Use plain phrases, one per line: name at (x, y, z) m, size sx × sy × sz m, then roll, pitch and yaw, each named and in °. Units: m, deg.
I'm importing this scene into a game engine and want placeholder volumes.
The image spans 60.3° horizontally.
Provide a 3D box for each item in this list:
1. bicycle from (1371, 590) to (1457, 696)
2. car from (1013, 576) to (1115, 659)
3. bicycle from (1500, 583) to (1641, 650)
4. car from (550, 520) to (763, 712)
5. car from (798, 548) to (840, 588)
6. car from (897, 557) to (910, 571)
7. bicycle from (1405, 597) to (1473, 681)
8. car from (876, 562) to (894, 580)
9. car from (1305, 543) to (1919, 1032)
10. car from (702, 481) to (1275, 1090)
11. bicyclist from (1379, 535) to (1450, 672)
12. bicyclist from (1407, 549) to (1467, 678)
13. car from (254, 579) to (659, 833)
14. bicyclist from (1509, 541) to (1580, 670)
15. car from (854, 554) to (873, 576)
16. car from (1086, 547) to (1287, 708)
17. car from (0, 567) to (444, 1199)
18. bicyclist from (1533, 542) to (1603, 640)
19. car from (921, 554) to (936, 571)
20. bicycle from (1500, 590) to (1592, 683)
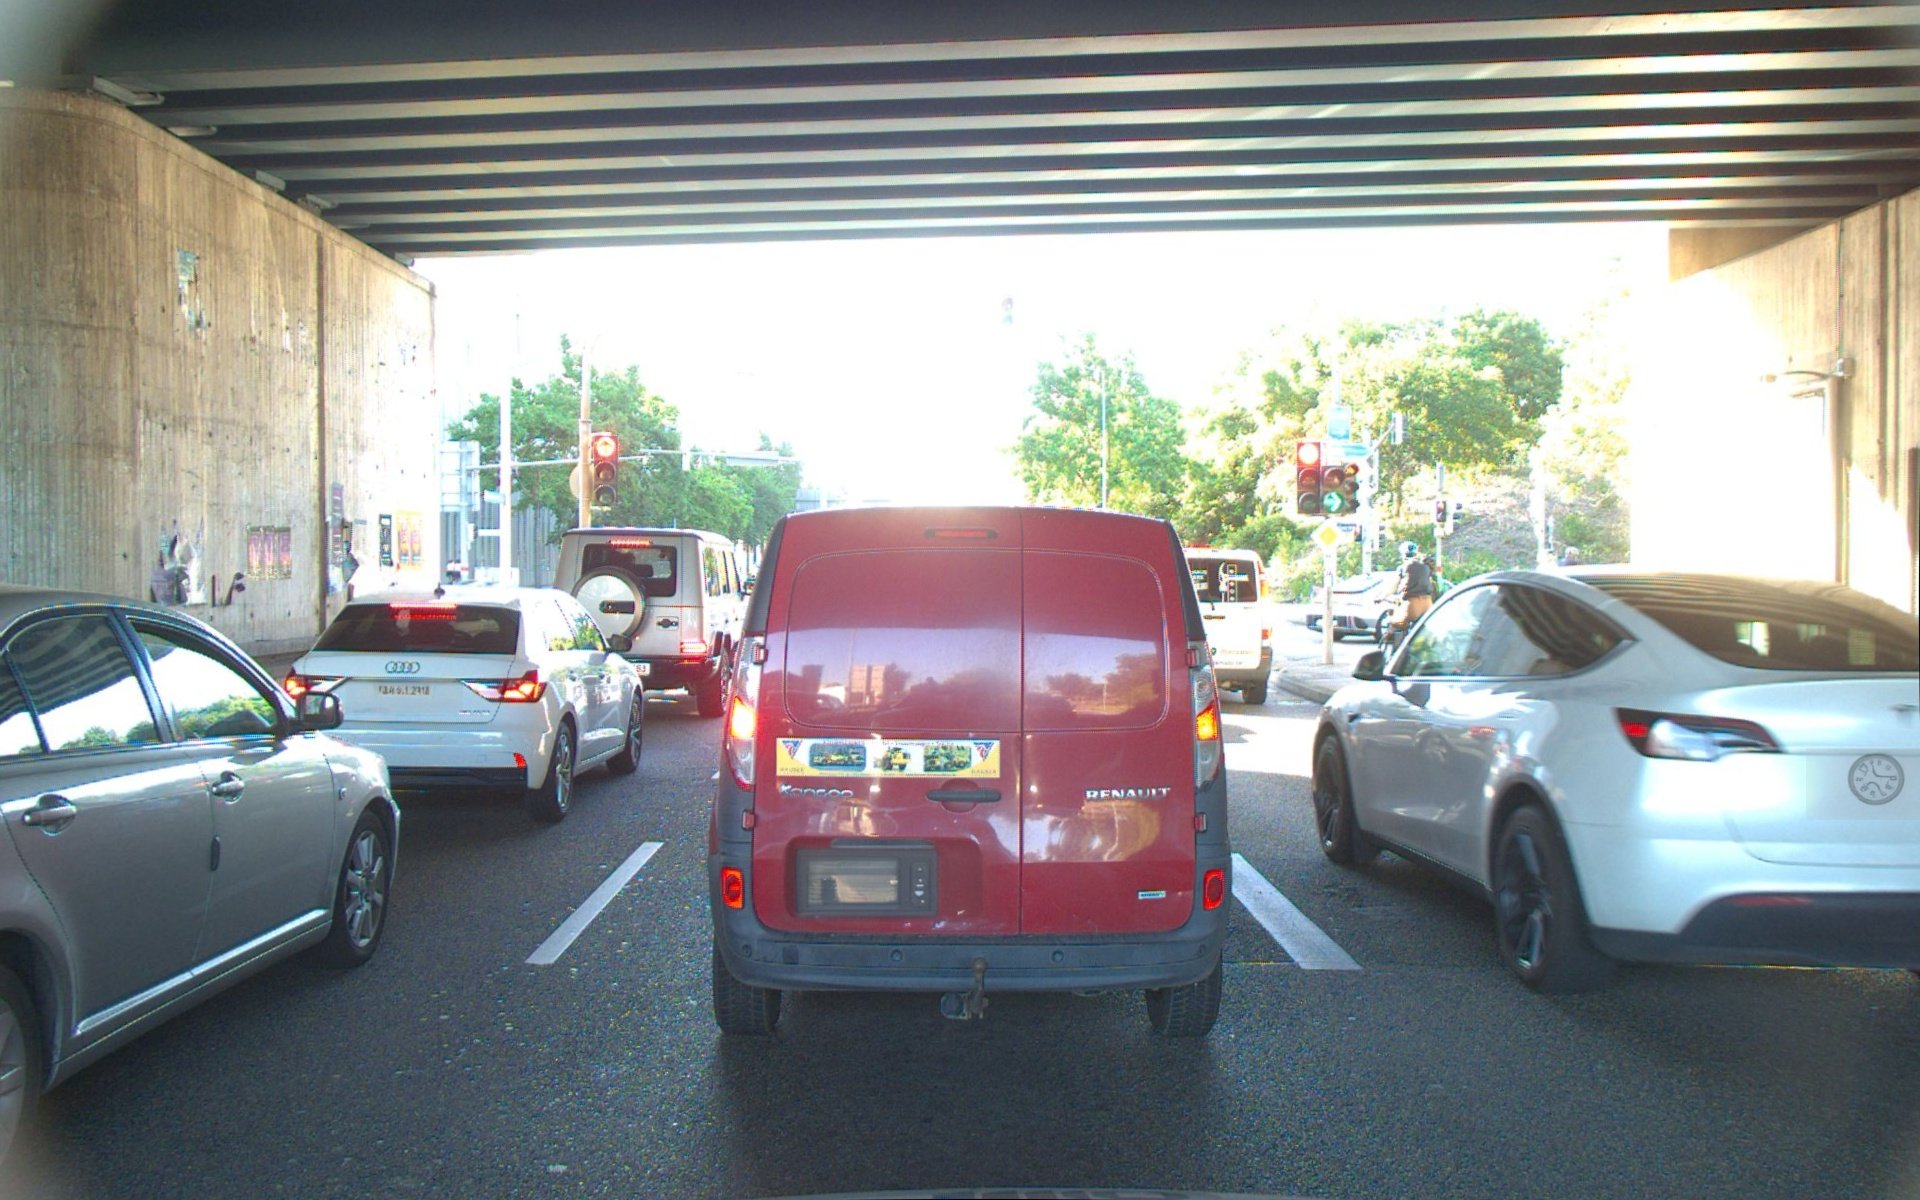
bicycle at (5.318, 0.481, 19.480) m, size 0.637 × 1.188 × 1.779 m, roll 0°, pitch 0°, yaw 4°
car at (1.968, 0.306, 32.107) m, size 1.710 × 1.481 × 3.716 m, roll 1°, pitch 0°, yaw 0°
bicycle at (10.846, 0.290, 29.375) m, size 2.423 × 1.166 × 0.764 m, roll 0°, pitch 0°, yaw -19°
car at (-3.329, 0.151, 18.823) m, size 1.777 × 1.937 × 3.812 m, roll 1°, pitch 0°, yaw -2°
car at (-7.586, -1.690, 89.350) m, size 1.953 × 2.049 × 3.999 m, roll 1°, pitch 0°, yaw -1°
car at (-8.455, -5.356, 247.031) m, size 1.890 × 2.049 × 3.913 m, roll 1°, pitch 0°, yaw -1°
bicycle at (6.257, 0.493, 21.665) m, size 0.662 × 1.042 × 1.530 m, roll 1°, pitch 0°, yaw 10°
car at (-9.182, -3.514, 202.491) m, size 1.953 × 2.049 × 3.999 m, roll 1°, pitch 0°, yaw -1°
car at (3.114, 0.572, 7.595) m, size 1.954 × 1.578 × 4.419 m, roll 0°, pitch 1°, yaw -3°
car at (0.061, 0.544, 6.936) m, size 1.684 × 1.795 × 3.999 m, roll 1°, pitch 0°, yaw -1°
bicyclist at (5.307, 0.038, 19.335) m, size 0.639 × 1.561 × 0.847 m, roll 0°, pitch 0°, yaw 4°
bicyclist at (6.273, 0.168, 21.762) m, size 0.663 × 1.657 × 0.644 m, roll 1°, pitch 0°, yaw 10°
car at (-3.237, 0.598, 11.416) m, size 1.658 × 1.435 × 3.812 m, roll 1°, pitch 0°, yaw -1°
bicyclist at (7.366, 0.071, 20.870) m, size 0.656 × 1.589 × 0.735 m, roll 0°, pitch 0°, yaw 3°
car at (-9.646, -3.499, 165.105) m, size 1.712 × 2.049 × 3.843 m, roll 1°, pitch 0°, yaw -1°
car at (2.848, 0.289, 21.887) m, size 1.859 × 1.868 × 4.834 m, roll 1°, pitch 1°, yaw -2°
car at (-3.004, 0.646, 4.875) m, size 1.662 × 1.480 × 4.397 m, roll 1°, pitch 0°, yaw -2°
bicyclist at (10.789, -0.157, 29.364) m, size 0.869 × 1.684 × 0.745 m, roll 1°, pitch 0°, yaw -18°
car at (-4.206, -5.022, 220.630) m, size 1.953 × 2.049 × 3.999 m, roll 1°, pitch 0°, yaw -1°
bicycle at (7.375, 0.446, 20.873) m, size 0.667 × 1.132 × 1.604 m, roll 0°, pitch 0°, yaw 3°
